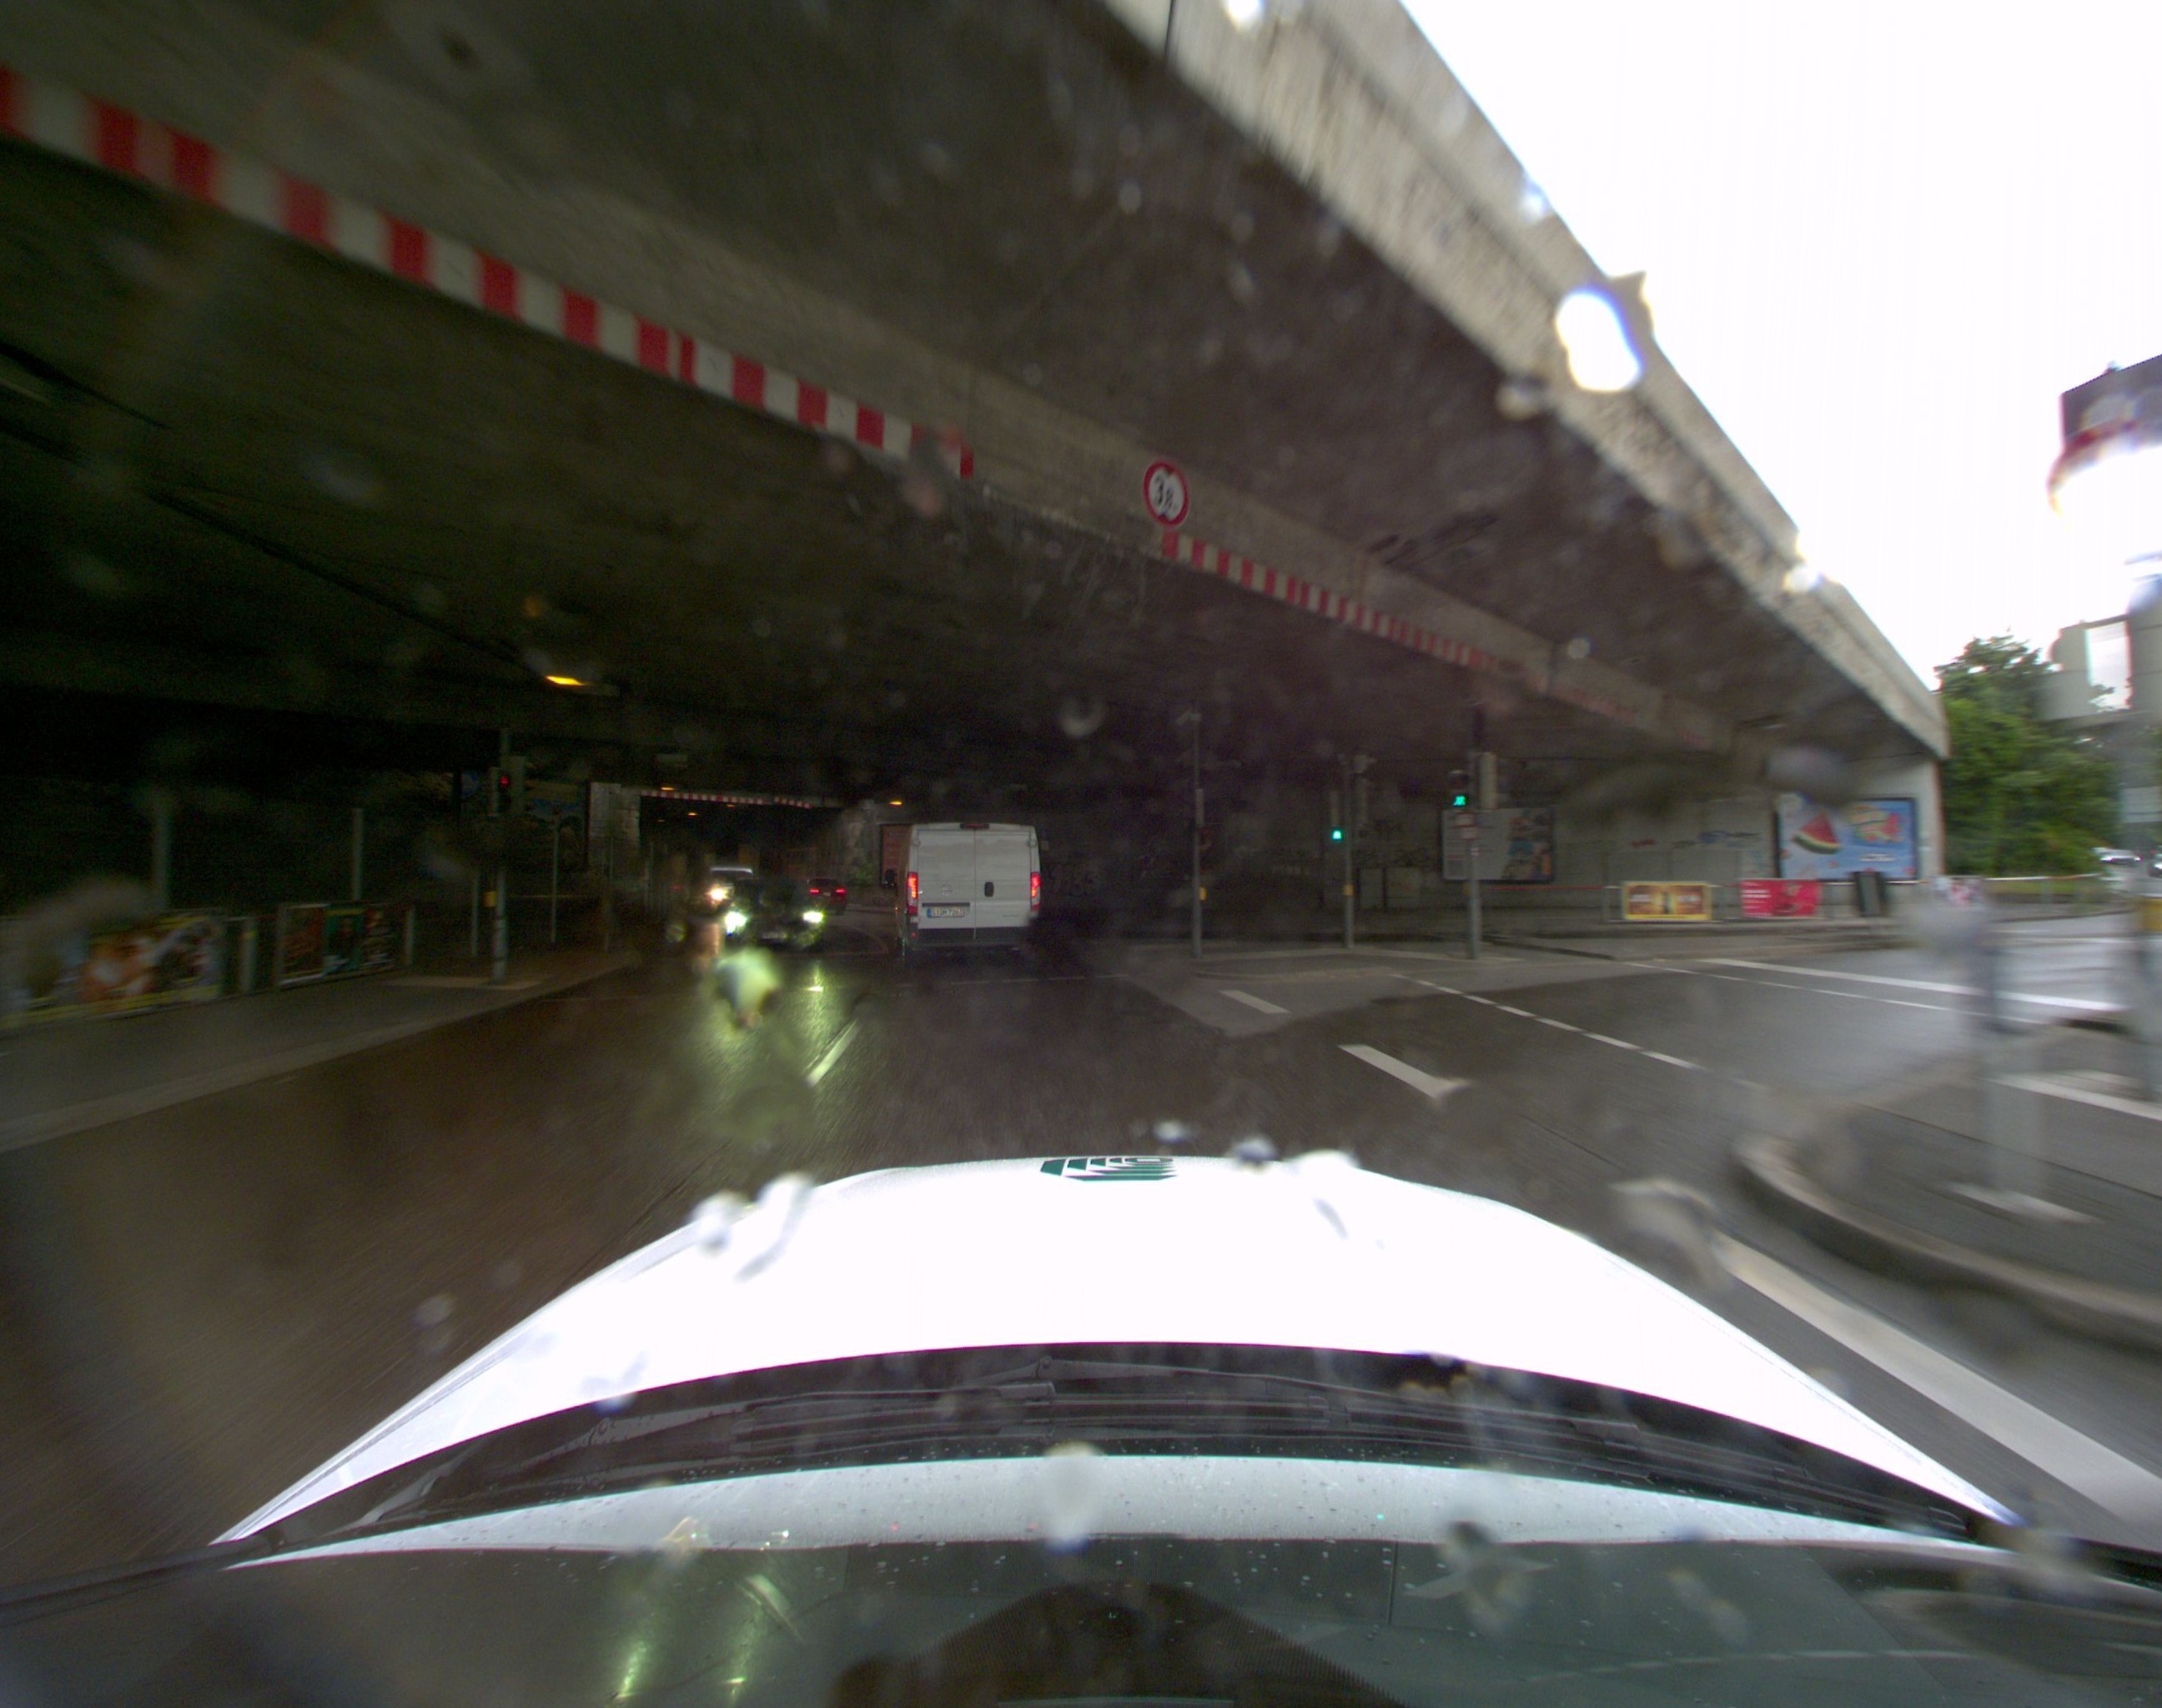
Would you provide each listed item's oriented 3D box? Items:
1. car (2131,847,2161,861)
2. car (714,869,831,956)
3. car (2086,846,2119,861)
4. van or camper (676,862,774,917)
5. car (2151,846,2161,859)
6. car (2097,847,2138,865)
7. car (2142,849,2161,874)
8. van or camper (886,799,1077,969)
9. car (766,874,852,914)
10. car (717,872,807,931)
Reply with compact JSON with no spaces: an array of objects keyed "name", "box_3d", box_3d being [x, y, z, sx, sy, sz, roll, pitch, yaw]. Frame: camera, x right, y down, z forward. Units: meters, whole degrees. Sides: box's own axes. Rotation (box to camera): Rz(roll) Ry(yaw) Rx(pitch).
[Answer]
[{"name":"car","box_3d":[122.258,-0.047,93.408,4.023,1.530,1.858,-1,1,-44]},{"name":"car","box_3d":[-6.345,1.101,16.988,2.000,1.530,4.470,0,-1,-19]},{"name":"car","box_3d":[108.766,-0.062,86.756,4.023,1.530,1.858,-1,1,-44]},{"name":"van or camper","box_3d":[-13.311,1.294,30.266,2.010,1.868,5.079,0,-2,-39]},{"name":"car","box_3d":[141.342,-0.204,106.158,4.023,1.530,1.858,-1,1,-44]},{"name":"car","box_3d":[92.307,0.142,72.536,4.023,1.530,1.858,-1,1,-44]},{"name":"car","box_3d":[70.560,0.471,52.698,4.023,1.530,1.858,-1,1,-44]},{"name":"van or camper","box_3d":[-1.987,0.533,14.338,2.703,2.417,4.877,0,-3,-15]},{"name":"car","box_3d":[-10.600,1.500,31.533,1.851,1.438,4.055,1,-2,-39]},{"name":"car","box_3d":[-9.071,1.282,22.946,2.004,1.465,4.069,0,-2,-27]}]
